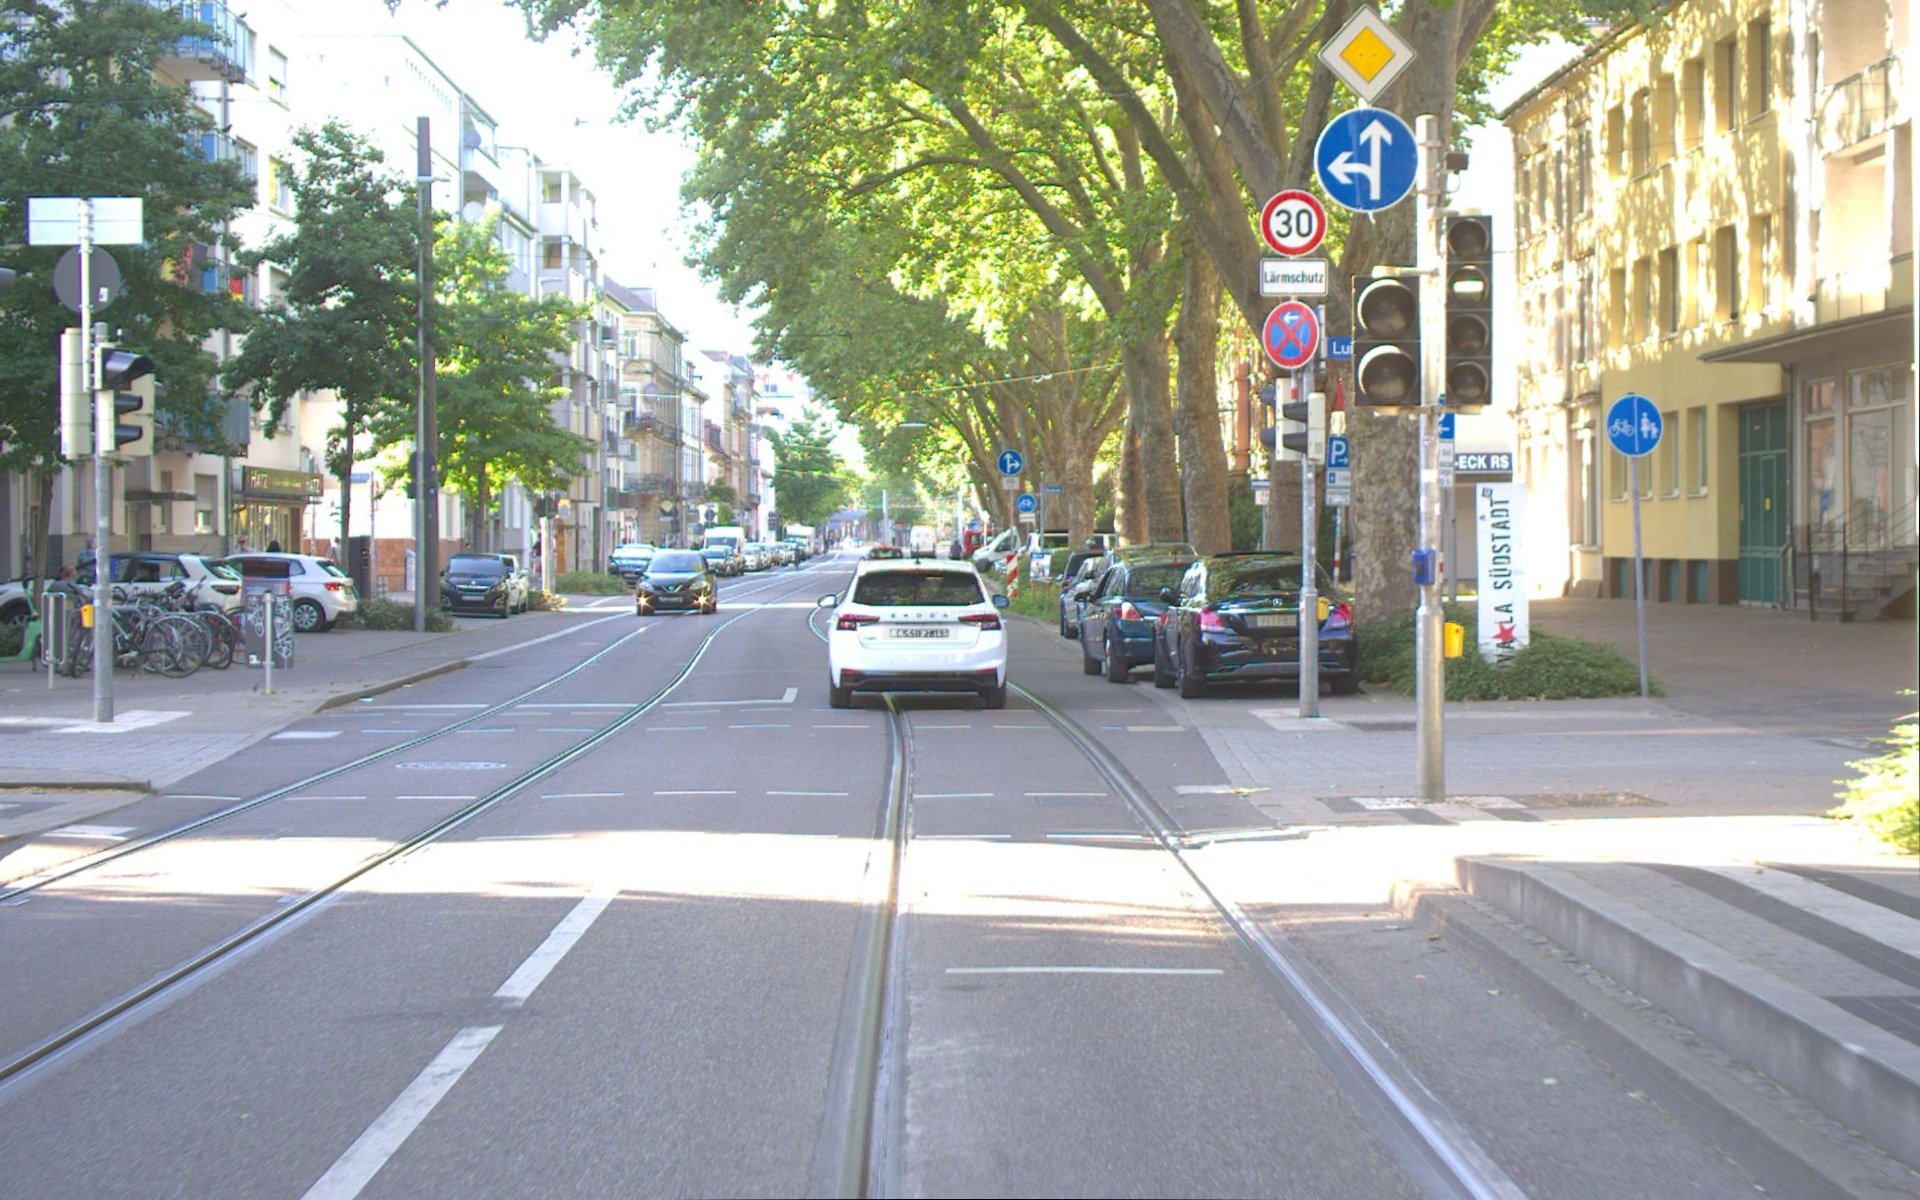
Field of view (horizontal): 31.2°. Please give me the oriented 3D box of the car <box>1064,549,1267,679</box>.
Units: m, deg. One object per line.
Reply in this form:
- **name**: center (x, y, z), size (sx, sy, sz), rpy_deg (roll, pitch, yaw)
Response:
- **car**: center (2.402, 0.128, 41.174), size (1.864, 1.432, 4.227), rpy_deg (-1, 1, -4)

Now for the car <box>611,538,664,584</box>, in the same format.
- **car**: center (-12.137, -1.493, 129.605), size (1.702, 1.645, 4.242), rpy_deg (2, 1, -2)

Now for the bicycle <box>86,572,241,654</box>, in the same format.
- **bicycle**: center (-10.062, 0.161, 43.484), size (1.829, 1.003, 0.658), rpy_deg (1, 0, -5)

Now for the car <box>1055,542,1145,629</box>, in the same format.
- **car**: center (2.549, -0.262, 63.025), size (1.564, 1.514, 2.910), rpy_deg (-2, 0, 2)

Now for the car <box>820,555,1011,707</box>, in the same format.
- **car**: center (-0.484, 0.261, 34.097), size (1.761, 1.379, 4.000), rpy_deg (-1, 1, -2)

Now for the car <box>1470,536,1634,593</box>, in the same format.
- **car**: center (16.534, -1.003, 96.126), size (4.130, 1.588, 2.000), rpy_deg (0, 1, -5)

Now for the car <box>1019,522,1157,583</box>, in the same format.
- **car**: center (4.363, -1.627, 117.610), size (4.543, 2.069, 2.001), rpy_deg (0, 1, -3)

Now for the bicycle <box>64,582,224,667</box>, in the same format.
- **bicycle**: center (-10.044, 0.299, 42.353), size (1.829, 1.003, 0.658), rpy_deg (1, 0, -5)

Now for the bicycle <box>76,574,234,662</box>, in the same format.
- **bicycle**: center (-9.985, 0.223, 42.673), size (1.829, 1.060, 0.658), rpy_deg (1, 0, -5)

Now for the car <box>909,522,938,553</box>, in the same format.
- **car**: center (-2.800, -4.764, 262.813), size (2.202, 2.379, 4.000), rpy_deg (0, 1, -1)

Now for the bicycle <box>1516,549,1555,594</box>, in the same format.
- **bicycle**: center (14.460, -0.730, 86.369), size (0.582, 1.100, 1.923), rpy_deg (-2, 1, -1)

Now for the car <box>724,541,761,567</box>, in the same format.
- **car**: center (-13.071, -2.772, 206.455), size (1.993, 1.525, 4.000), rpy_deg (0, 1, -1)

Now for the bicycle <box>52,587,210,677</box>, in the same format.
- **bicycle**: center (-9.585, 0.369, 39.785), size (1.690, 1.003, 0.658), rpy_deg (1, 0, -5)

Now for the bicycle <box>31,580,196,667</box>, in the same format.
- **bicycle**: center (-10.153, 0.277, 41.265), size (1.829, 1.003, 0.658), rpy_deg (1, 0, -5)

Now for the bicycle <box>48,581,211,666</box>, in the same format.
- **bicycle**: center (-10.068, 0.281, 41.707), size (1.829, 1.003, 0.658), rpy_deg (1, 0, -5)

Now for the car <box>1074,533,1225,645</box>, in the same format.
- **car**: center (2.870, -0.175, 53.034), size (1.857, 1.598, 4.782), rpy_deg (-2, 0, -2)

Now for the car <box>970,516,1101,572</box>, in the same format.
- **car**: center (3.591, -2.677, 164.594), size (6.130, 2.626, 2.529), rpy_deg (0, 1, -2)

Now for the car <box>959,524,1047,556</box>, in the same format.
- **car**: center (3.044, -4.257, 243.429), size (6.130, 2.274, 2.529), rpy_deg (0, 1, -2)

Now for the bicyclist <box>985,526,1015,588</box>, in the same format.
- **bicyclist**: center (0.930, -1.008, 80.330), size (0.678, 1.438, 1.047), rpy_deg (-1, 1, 0)

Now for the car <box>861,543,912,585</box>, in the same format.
- **car**: center (-2.624, -1.298, 123.415), size (1.761, 1.470, 4.000), rpy_deg (-1, 1, 0)

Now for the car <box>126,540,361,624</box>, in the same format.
- **car**: center (-13.257, -0.339, 63.795), size (4.012, 1.470, 1.852), rpy_deg (1, 0, -3)

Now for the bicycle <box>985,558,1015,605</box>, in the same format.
- **bicycle**: center (0.931, -0.435, 80.267), size (0.681, 1.067, 1.781), rpy_deg (-1, 1, 0)

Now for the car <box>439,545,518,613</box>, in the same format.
- **car**: center (-11.224, -0.506, 80.270), size (1.713, 1.459, 4.001), rpy_deg (3, 0, -8)

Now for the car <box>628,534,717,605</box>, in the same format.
- **car**: center (-6.815, -0.750, 81.823), size (1.871, 1.584, 4.147), rpy_deg (2, 1, -2)

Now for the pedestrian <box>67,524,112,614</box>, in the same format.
- **pedestrian**: center (-16.335, -0.584, 64.506), size (0.663, 1.685, 0.749), rpy_deg (0, 1, -2)

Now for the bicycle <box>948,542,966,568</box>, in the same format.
- **bicycle**: center (-0.128, -1.850, 140.583), size (0.649, 1.067, 1.583), rpy_deg (-1, 1, -2)

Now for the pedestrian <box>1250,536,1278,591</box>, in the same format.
- **pedestrian**: center (10.408, -1.243, 117.862), size (0.766, 1.860, 1.189), rpy_deg (-1, 1, -4)

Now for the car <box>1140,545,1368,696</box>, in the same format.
- **car**: center (3.007, 0.157, 36.111), size (1.764, 1.457, 5.013), rpy_deg (0, 1, -2)

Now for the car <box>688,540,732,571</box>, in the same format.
- **car**: center (-12.663, -2.264, 174.404), size (1.993, 1.525, 4.000), rpy_deg (0, 1, -1)

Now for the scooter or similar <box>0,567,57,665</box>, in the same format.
- **scooter or similar**: center (-11.563, 0.185, 41.683), size (1.079, 1.172, 0.498), rpy_deg (1, 0, -2)

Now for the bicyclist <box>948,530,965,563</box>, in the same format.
- **bicyclist**: center (-0.138, -2.207, 140.590), size (0.649, 1.339, 0.934), rpy_deg (-1, 1, -2)

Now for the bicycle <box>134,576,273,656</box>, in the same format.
- **bicycle**: center (-9.859, 0.204, 44.839), size (1.690, 1.003, 0.658), rpy_deg (1, 0, -5)

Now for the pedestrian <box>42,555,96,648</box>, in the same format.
- **pedestrian**: center (-12.660, 0.016, 48.843), size (0.712, 1.293, 0.748), rpy_deg (-1, 1, -14)

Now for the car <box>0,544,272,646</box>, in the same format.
- **car**: center (-12.630, -0.085, 52.087), size (4.012, 1.470, 1.852), rpy_deg (1, 0, 0)

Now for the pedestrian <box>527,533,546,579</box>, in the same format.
- **pedestrian**: center (-16.634, -1.735, 134.961), size (0.663, 1.820, 0.965), rpy_deg (0, 1, -2)

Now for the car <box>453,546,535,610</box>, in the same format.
- **car**: center (-11.500, -0.562, 85.054), size (1.713, 1.459, 4.378), rpy_deg (3, 0, -5)

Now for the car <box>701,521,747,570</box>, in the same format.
- **car**: center (-12.750, -2.955, 186.121), size (2.178, 2.588, 4.949), rpy_deg (0, 1, -1)

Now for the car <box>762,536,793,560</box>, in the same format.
- **car**: center (-12.843, -3.645, 242.451), size (1.993, 1.634, 4.000), rpy_deg (1, 1, -1)
